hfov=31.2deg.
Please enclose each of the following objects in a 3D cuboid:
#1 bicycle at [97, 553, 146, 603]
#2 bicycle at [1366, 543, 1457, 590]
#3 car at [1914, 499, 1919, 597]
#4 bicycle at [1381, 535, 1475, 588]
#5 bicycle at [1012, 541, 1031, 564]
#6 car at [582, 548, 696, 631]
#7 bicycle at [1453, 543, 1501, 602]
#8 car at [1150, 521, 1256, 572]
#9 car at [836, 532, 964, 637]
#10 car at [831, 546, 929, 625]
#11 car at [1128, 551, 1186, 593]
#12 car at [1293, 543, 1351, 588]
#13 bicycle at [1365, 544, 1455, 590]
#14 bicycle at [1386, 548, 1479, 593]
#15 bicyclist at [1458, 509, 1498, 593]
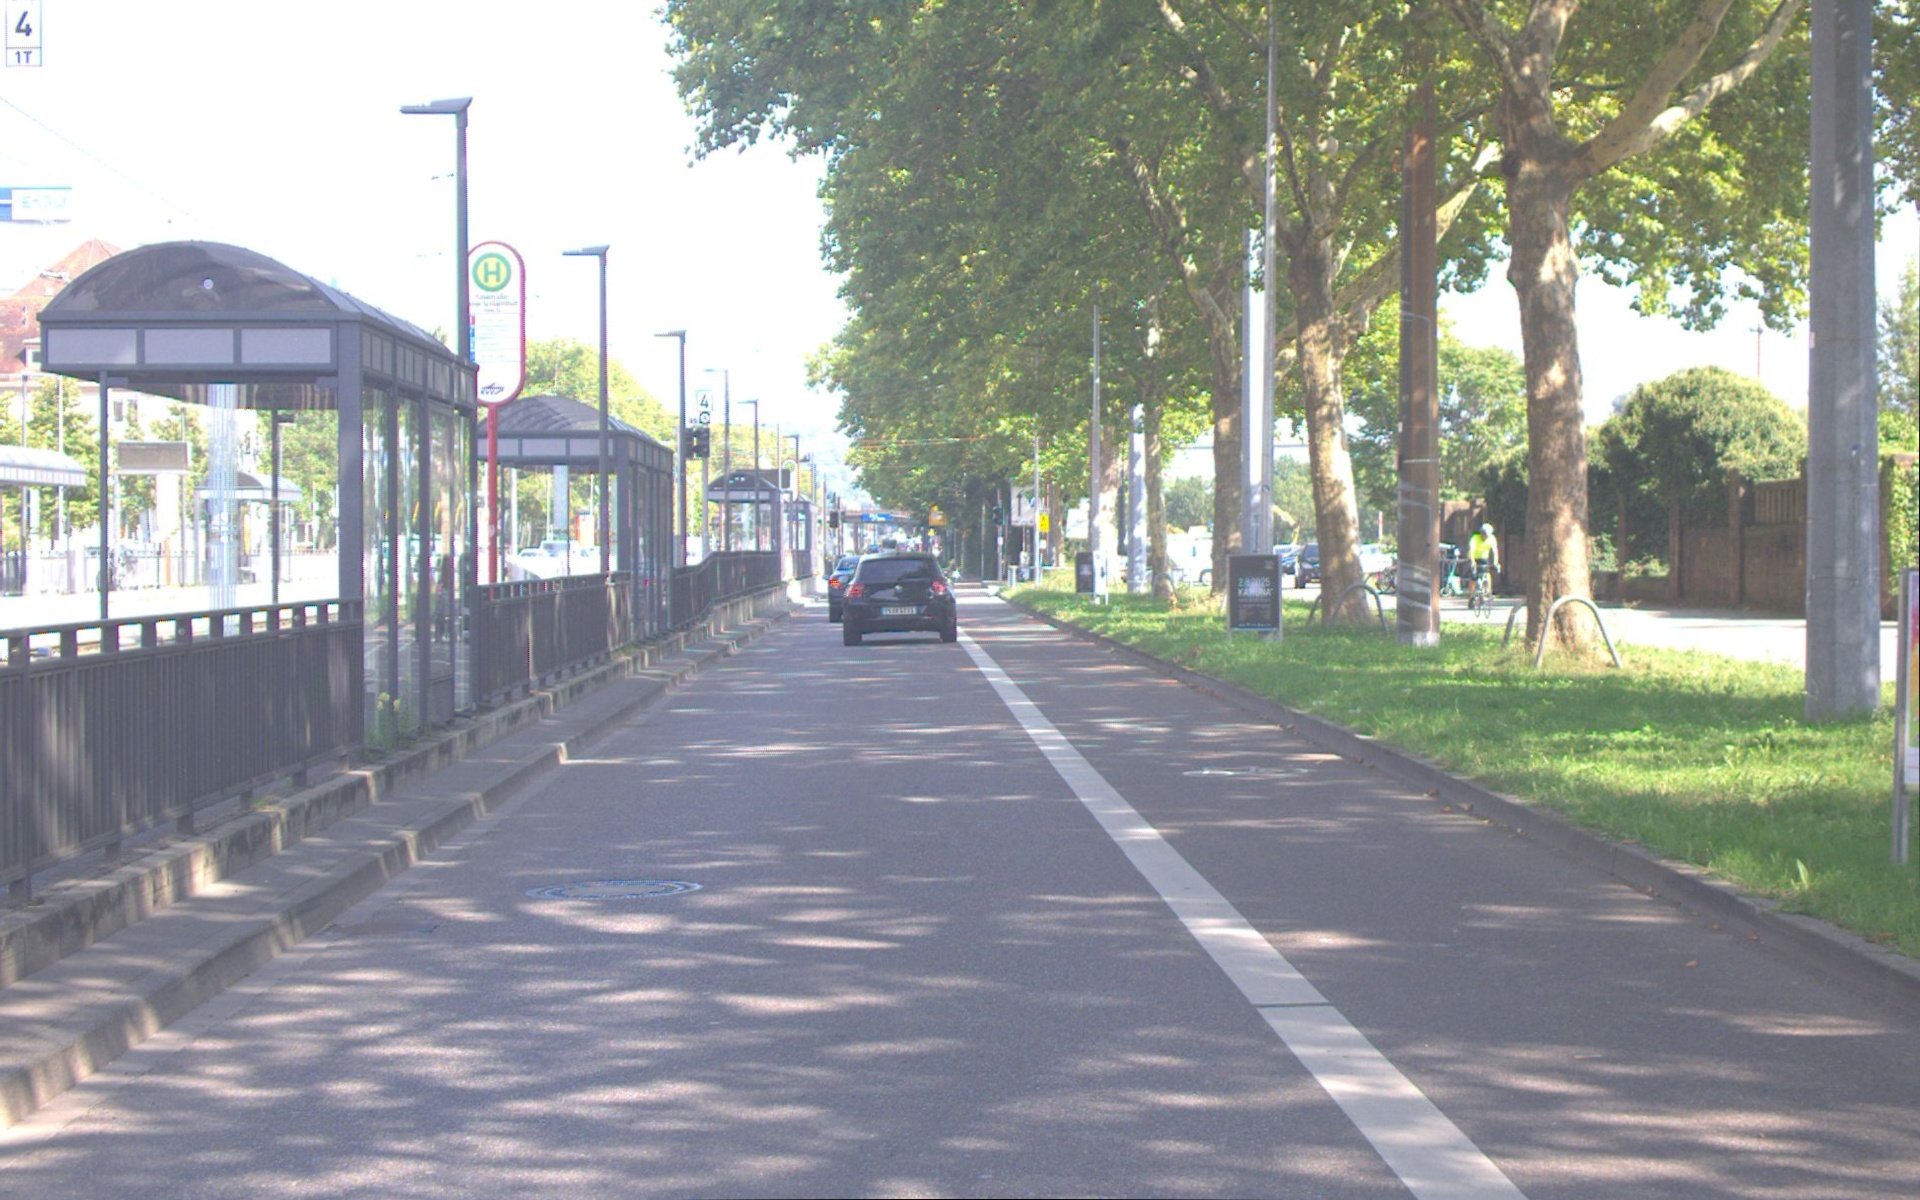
[{"bbox_3d":[-19.315,-0.509,79.175,0.471,1.143,1.483,0,1,14],"label":"bicycle"},{"bbox_3d":[11.378,-0.852,86.748,2.173,1.073,0.743,-3,1,3],"label":"bicycle"},{"bbox_3d":[19.259,-0.942,60.191,4.521,1.728,1.910,-1,1,-3],"label":"car"},{"bbox_3d":[12.119,-0.996,89.069,2.244,1.272,0.999,-2,0,-1],"label":"bicycle"},{"bbox_3d":[2.730,-2.106,152.618,0.610,1.018,2.403,0,1,-5],"label":"bicycle"},{"bbox_3d":[-6.906,-0.248,74.342,1.993,1.554,4.000,-5,1,0],"label":"car"},{"bbox_3d":[9.045,-0.487,60.156,0.548,1.003,1.713,0,1,-1],"label":"bicycle"},{"bbox_3d":[9.683,-2.129,137.001,4.103,1.912,1.848,-2,1,2],"label":"car"},{"bbox_3d":[-0.976,-0.272,54.484,1.907,1.532,4.000,-2,1,-2],"label":"car"},{"bbox_3d":[-1.748,-0.339,74.418,1.973,1.532,4.000,-4,1,-2],"label":"car"},{"bbox_3d":[7.052,-1.032,123.647,1.728,1.443,4.551,-1,1,-1],"label":"car"},{"bbox_3d":[13.132,-1.260,124.904,1.607,1.570,3.797,-1,1,-1],"label":"car"},{"bbox_3d":[11.457,-0.848,87.565,2.173,1.073,0.743,-3,1,3],"label":"bicycle"},{"bbox_3d":[11.614,-0.726,84.540,2.173,1.073,0.743,0,1,-2],"label":"bicycle"},{"bbox_3d":[9.047,-0.862,60.043,0.548,1.448,0.842,0,1,-1],"label":"bicyclist"}]
